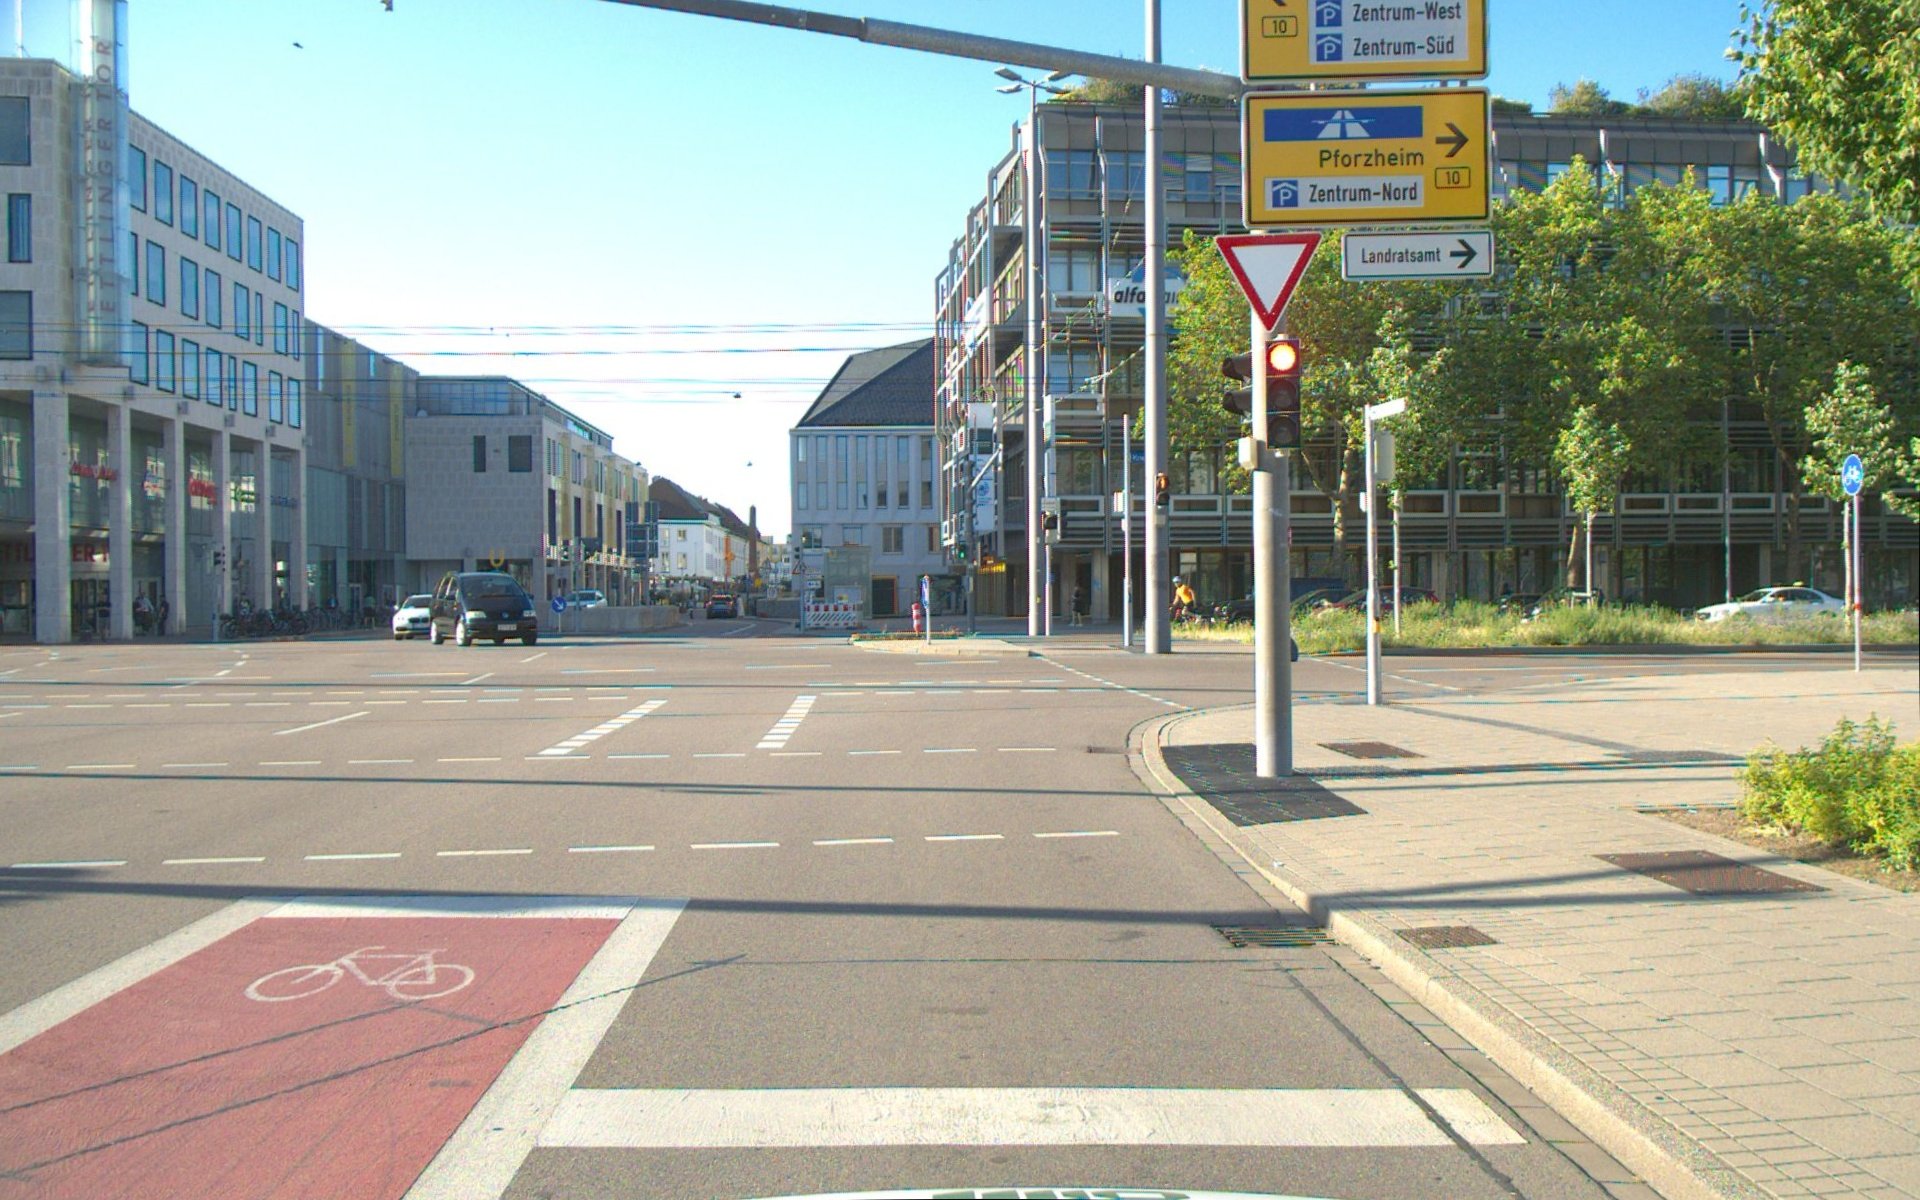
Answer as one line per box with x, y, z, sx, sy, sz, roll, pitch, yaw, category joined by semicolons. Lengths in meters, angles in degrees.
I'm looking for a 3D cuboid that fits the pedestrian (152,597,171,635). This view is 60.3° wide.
-34.582;0.689;71.620;0.618;1.636;0.645;-1;0;-37;pedestrian

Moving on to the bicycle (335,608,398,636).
-31.424;1.167;87.580;2.992;1.425;0.901;-1;0;-6;bicycle

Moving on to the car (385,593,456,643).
-17.338;0.534;53.328;1.961;1.380;4.626;-1;2;-16;car

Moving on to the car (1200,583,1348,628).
10.499;0.169;55.468;4.541;1.380;1.998;-1;2;-6;car

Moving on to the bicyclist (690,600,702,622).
-18.352;0.750;114.839;0.731;1.486;0.766;-1;0;-4;bicyclist

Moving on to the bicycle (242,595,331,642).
-30.599;0.812;75.234;3.551;2.049;1.085;-1;0;-6;bicycle

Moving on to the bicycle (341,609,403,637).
-31.637;1.208;88.986;2.992;1.425;0.901;-1;0;-6;bicycle

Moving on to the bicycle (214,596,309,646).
-29.889;0.892;70.852;3.551;2.049;1.085;-1;0;-6;bicycle

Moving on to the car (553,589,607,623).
-18.858;0.274;82.251;1.954;1.651;4.234;-1;1;-5;car

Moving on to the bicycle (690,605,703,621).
-18.313;0.905;114.870;0.727;1.064;2.429;-1;1;-5;bicycle

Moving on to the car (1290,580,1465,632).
12.044;0.156;47.878;4.541;1.380;1.998;-1;2;-6;car

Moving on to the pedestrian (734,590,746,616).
-14.574;0.191;109.472;0.700;1.697;0.987;-1;0;-4;pedestrian

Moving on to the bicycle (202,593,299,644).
-29.804;0.784;69.516;3.554;2.049;1.084;-1;0;-10;bicycle

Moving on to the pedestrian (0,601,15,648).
-34.017;0.868;58.659;0.610;1.636;0.653;-1;0;-3;pedestrian

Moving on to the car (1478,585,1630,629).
20.480;0.220;57.091;4.541;1.380;1.998;-1;2;-6;car

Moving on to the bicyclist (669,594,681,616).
-19.592;0.341;113.789;0.731;1.486;0.766;-1;0;-4;bicyclist

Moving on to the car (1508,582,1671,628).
20.322;0.150;53.475;4.541;1.380;1.998;-1;2;-6;car

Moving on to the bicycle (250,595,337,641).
-30.757;0.819;76.376;3.551;2.049;1.085;-1;0;-6;bicycle

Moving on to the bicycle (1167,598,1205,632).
6.658;0.437;48.669;1.054;0.988;0.458;-1;0;0;bicycle

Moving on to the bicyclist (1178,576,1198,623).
6.705;-0.008;48.672;0.498;1.361;0.453;-1;0;1;bicyclist

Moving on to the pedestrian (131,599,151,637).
-35.064;0.765;70.809;0.618;1.636;0.645;-1;0;-37;pedestrian

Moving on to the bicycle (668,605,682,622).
-19.593;0.916;113.766;0.727;1.064;2.429;-1;1;-5;bicycle

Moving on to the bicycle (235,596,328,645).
-29.650;0.867;72.320;3.551;2.049;1.085;-1;0;-6;bicycle

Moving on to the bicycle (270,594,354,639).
-30.720;0.773;78.468;3.551;2.049;0.901;-1;0;-6;bicycle

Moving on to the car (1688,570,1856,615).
26.429;-0.259;53.916;4.541;1.380;1.998;-1;2;-6;car

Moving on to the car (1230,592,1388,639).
11.060;0.468;52.562;4.541;1.380;1.998;-1;2;-6;car

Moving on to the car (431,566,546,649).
-11.237;0.114;39.203;1.968;1.772;4.611;-1;2;-24;car

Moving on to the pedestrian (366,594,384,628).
-28.747;0.537;81.275;0.734;1.636;0.619;-1;0;-29;pedestrian

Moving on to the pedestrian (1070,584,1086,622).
4.807;0.113;67.532;0.609;1.545;0.654;-1;0;7;pedestrian

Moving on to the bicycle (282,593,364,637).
-30.914;0.720;80.304;3.551;2.049;0.901;-1;0;-6;bicycle

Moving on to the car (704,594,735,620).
-15.889;0.446;109.359;1.956;1.579;3.993;-1;1;-8;car

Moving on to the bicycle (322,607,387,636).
-31.372;1.133;85.693;2.992;1.425;0.901;-1;0;-6;bicycle

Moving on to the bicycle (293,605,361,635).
-31.093;0.987;81.276;2.992;1.425;0.901;-1;0;-6;bicycle
